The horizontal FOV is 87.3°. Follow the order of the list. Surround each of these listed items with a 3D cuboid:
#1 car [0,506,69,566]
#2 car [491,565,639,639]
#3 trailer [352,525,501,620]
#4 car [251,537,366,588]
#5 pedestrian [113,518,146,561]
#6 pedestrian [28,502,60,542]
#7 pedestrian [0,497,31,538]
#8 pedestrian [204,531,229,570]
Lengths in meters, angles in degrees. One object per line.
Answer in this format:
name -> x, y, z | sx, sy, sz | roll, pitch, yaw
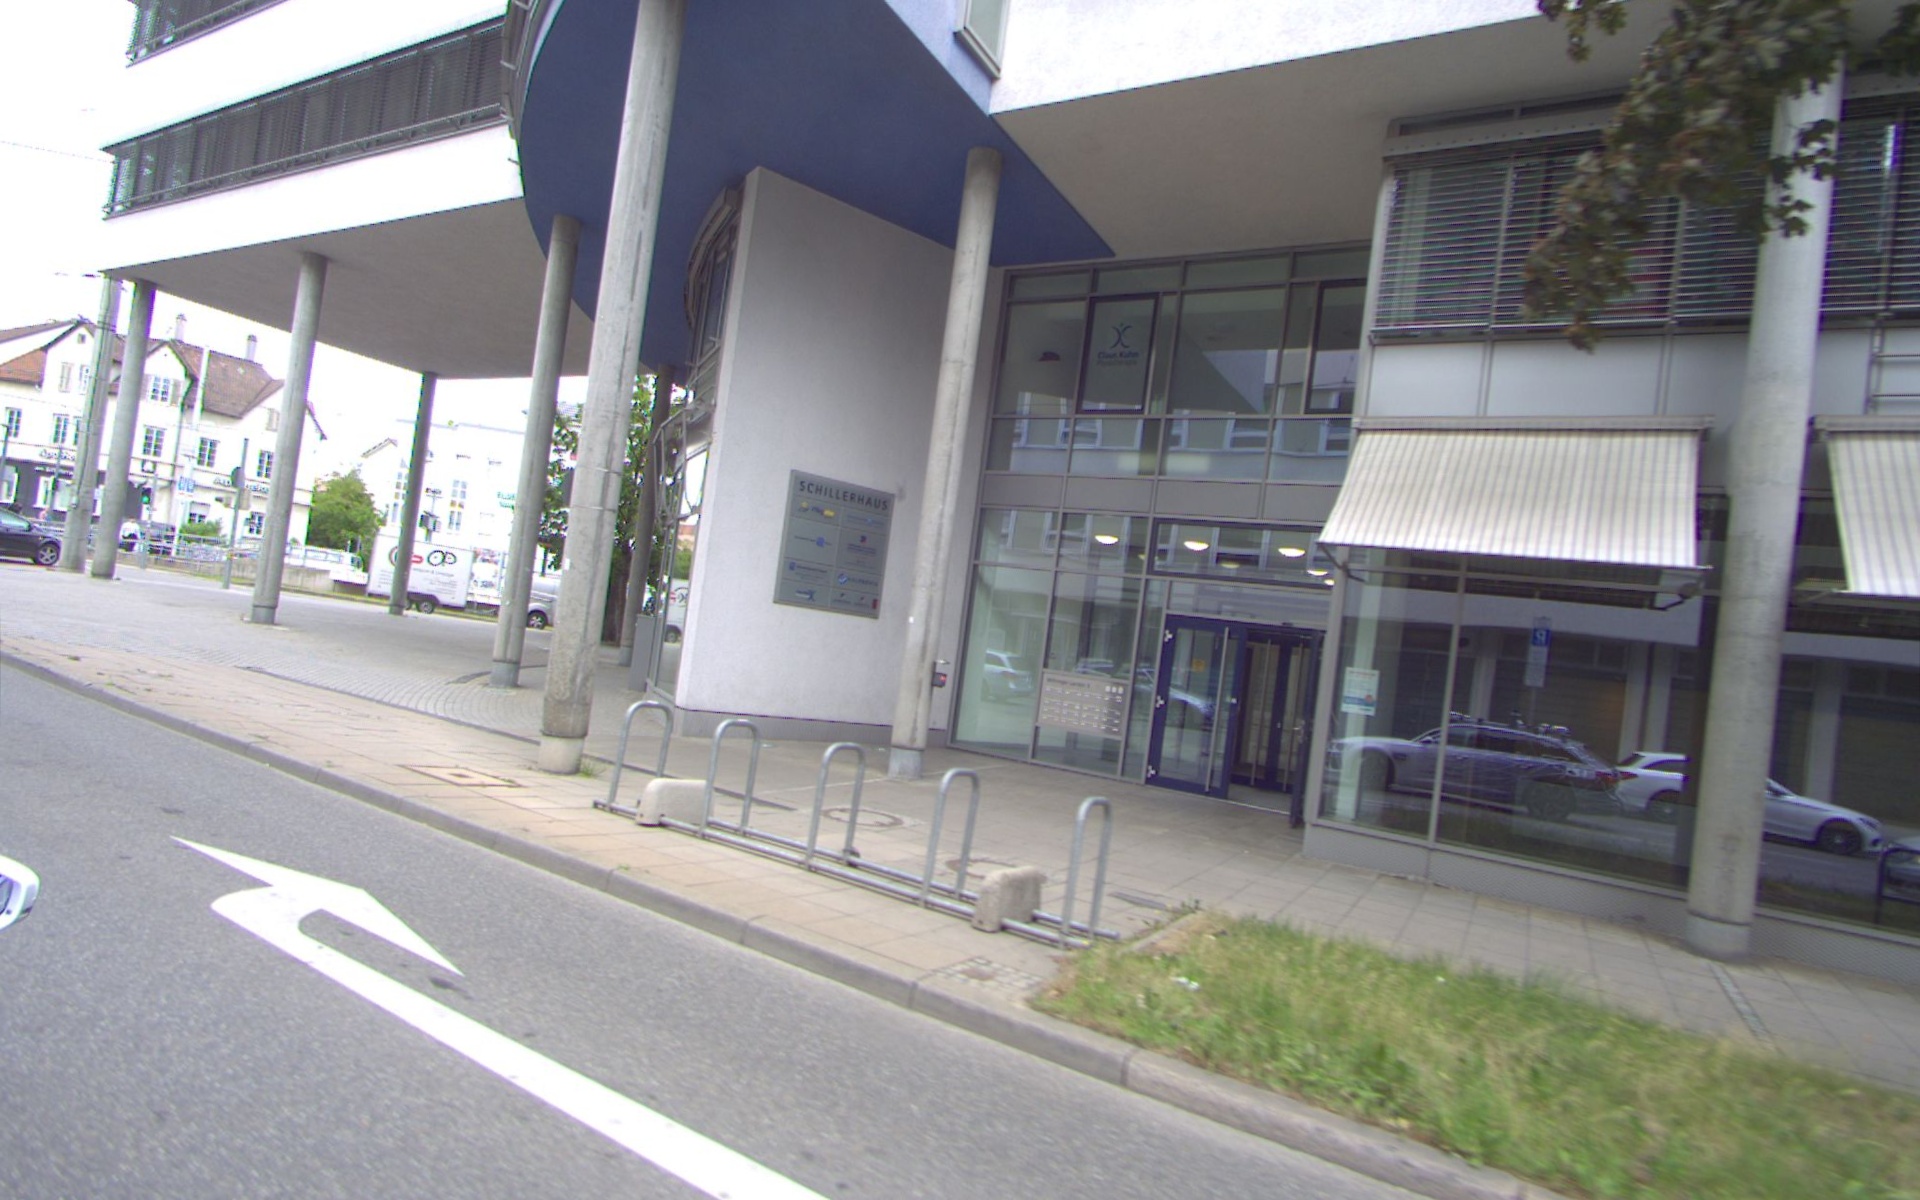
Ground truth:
car -> -25.933, -1.823, 26.357 | 1.709, 1.427, 3.998 | 8, -2, -5
car -> -14.794, 0.111, 37.705 | 4.850, 1.966, 1.873 | 9, -3, -26
trailer -> -18.796, -0.905, 35.638 | 4.275, 2.641, 1.872 | 9, -3, -27
car -> -35.849, -2.029, 55.452 | 4.703, 1.939, 1.990 | 9, -3, -8
pedestrian -> -35.836, -2.592, 43.397 | 0.638, 1.738, 0.704 | 8, -1, -7
pedestrian -> -42.955, -3.659, 47.165 | 0.641, 1.736, 0.786 | 10, -2, -21
pedestrian -> -43.852, -3.819, 46.642 | 0.637, 1.738, 0.705 | 7, -1, 12
pedestrian -> -35.491, -2.373, 48.014 | 0.644, 1.736, 0.783 | 10, -2, -32
